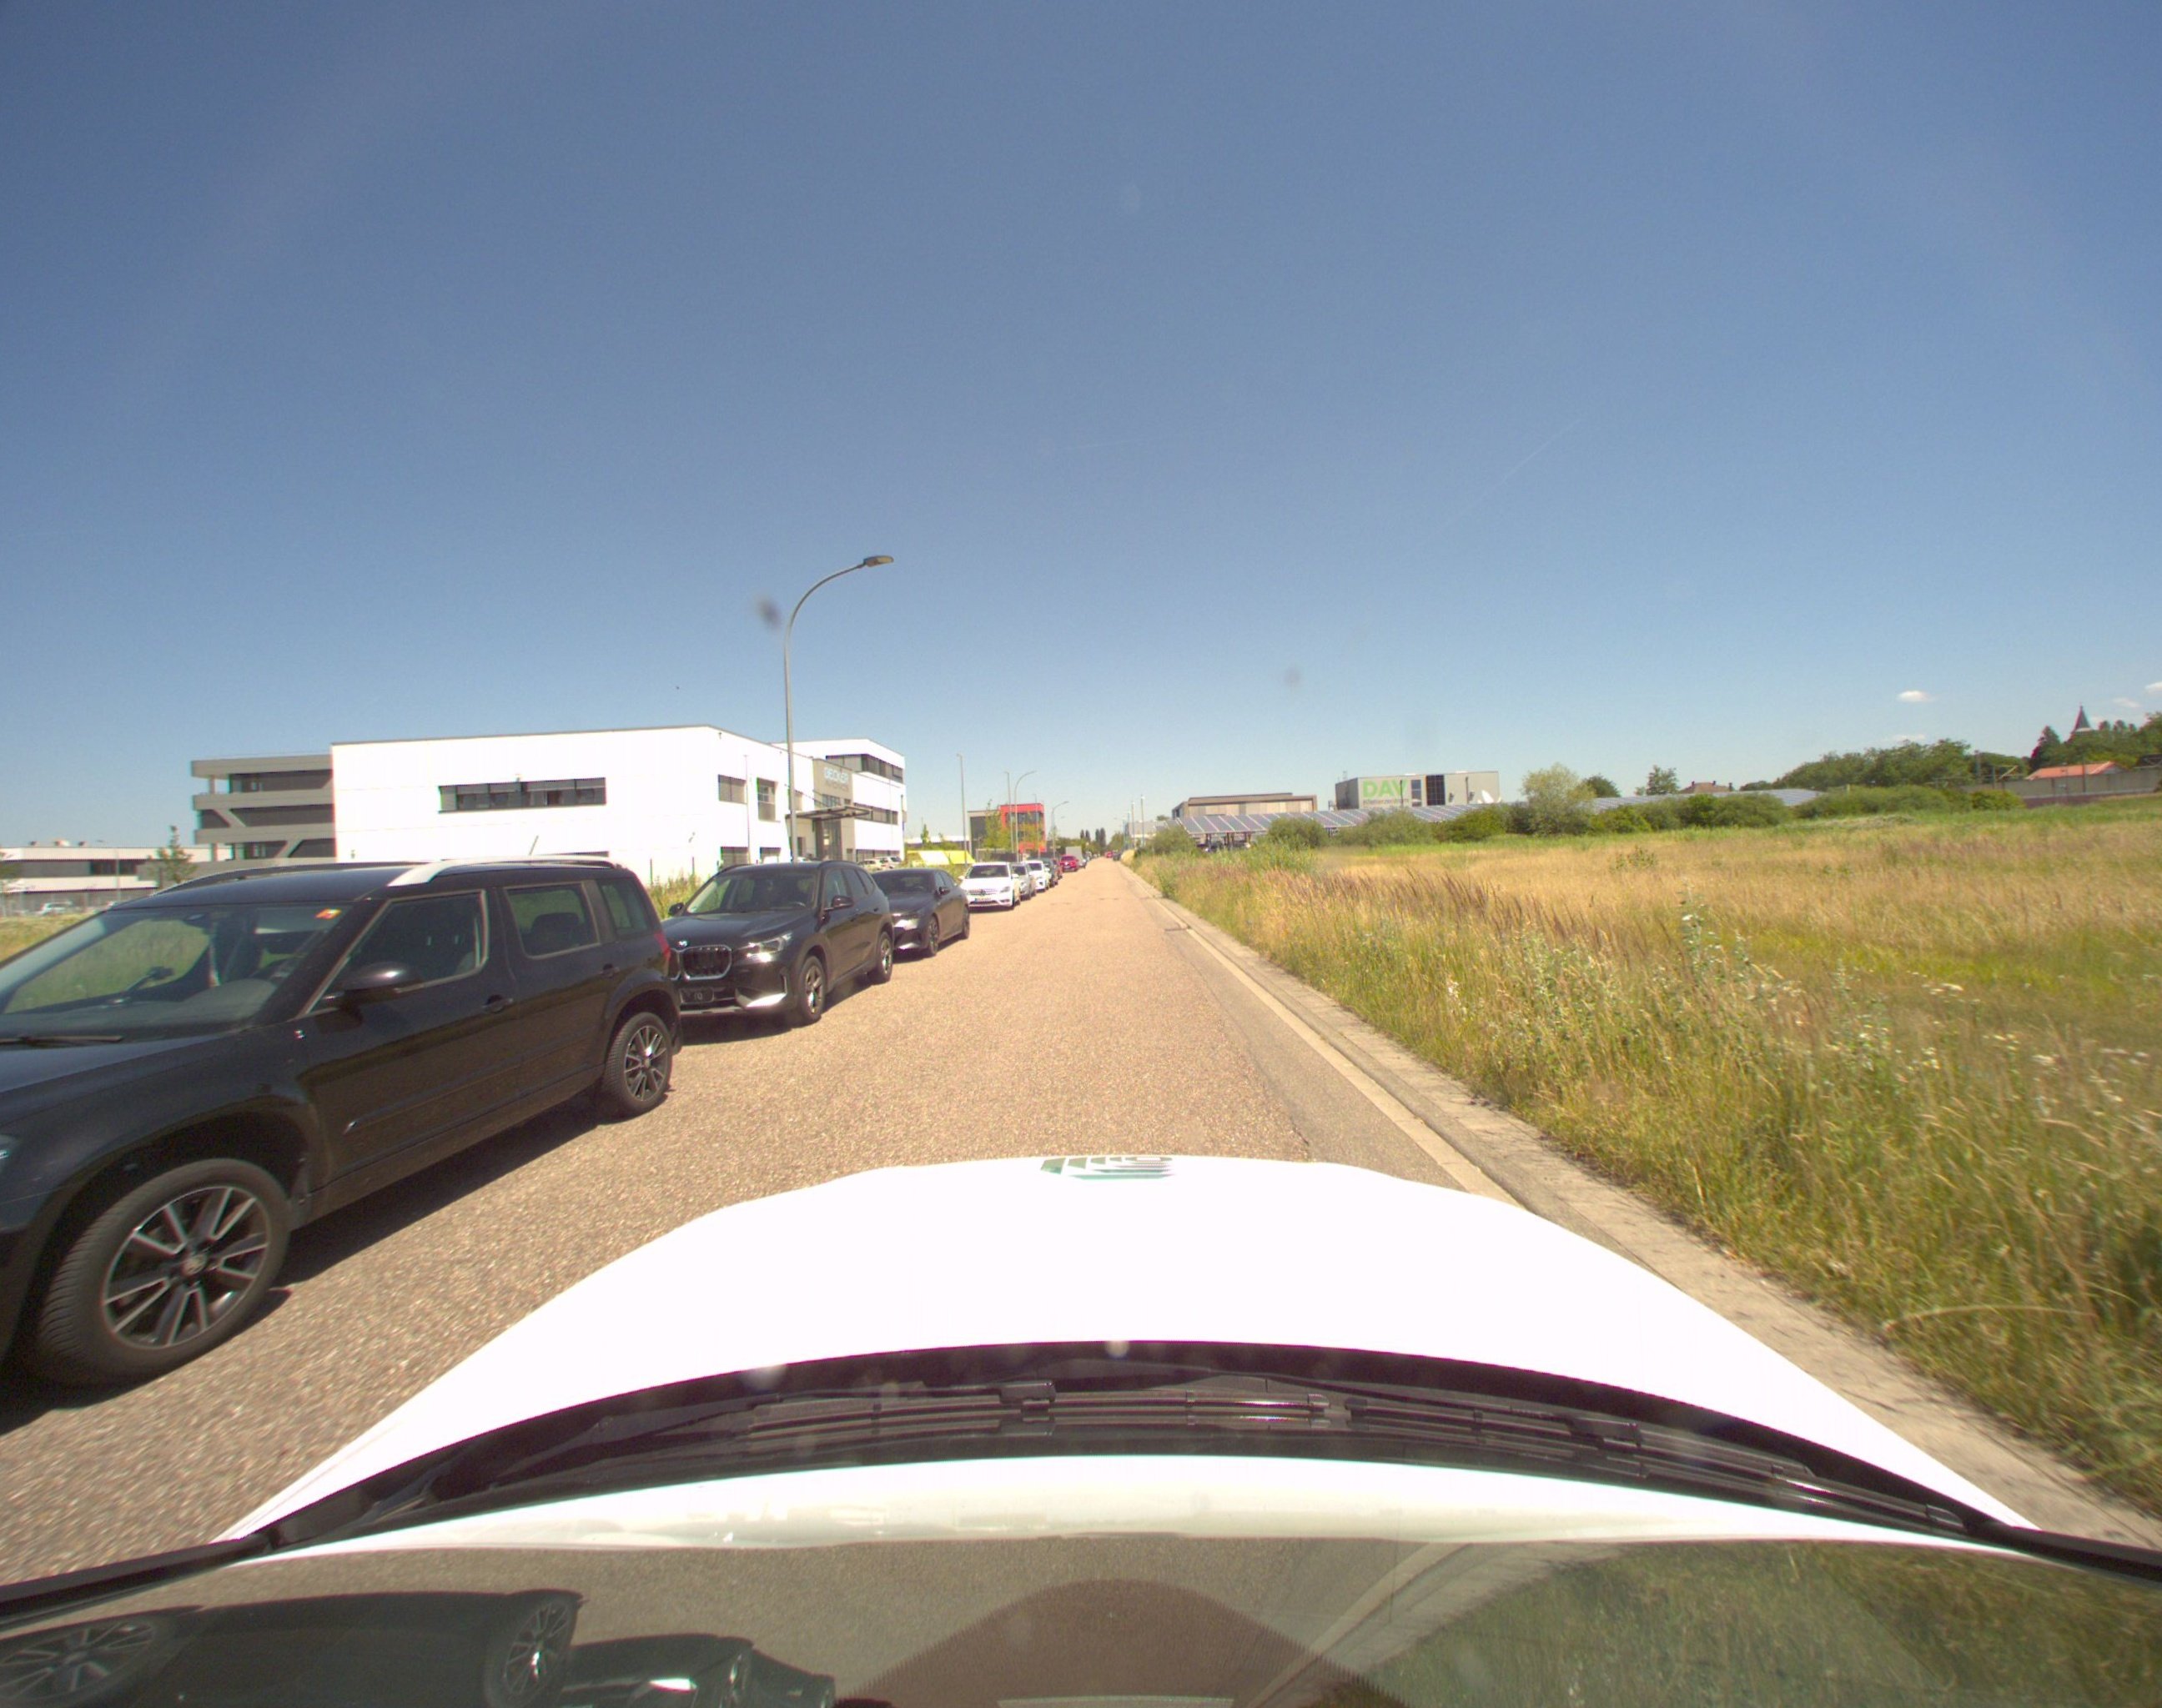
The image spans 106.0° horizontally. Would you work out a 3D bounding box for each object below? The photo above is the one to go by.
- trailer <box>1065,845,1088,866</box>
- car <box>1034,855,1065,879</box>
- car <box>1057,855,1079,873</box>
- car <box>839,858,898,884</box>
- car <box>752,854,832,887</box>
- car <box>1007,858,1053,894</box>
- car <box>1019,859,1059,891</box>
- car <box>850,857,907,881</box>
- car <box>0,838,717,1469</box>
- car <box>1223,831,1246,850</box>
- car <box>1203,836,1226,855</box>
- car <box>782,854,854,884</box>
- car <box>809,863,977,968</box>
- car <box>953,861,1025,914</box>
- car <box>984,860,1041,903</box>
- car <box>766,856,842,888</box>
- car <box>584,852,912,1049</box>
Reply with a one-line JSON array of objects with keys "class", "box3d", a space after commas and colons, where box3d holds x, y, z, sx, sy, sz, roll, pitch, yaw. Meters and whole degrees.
[{"class": "trailer", "box3d": [-0.451, 0.187, 87.447, 2.193, 2.137, 4.287, -3, 0, 2]}, {"class": "car", "box3d": [-2.144, 0.890, 56.799, 1.780, 1.520, 3.984, -3, 0, 2]}, {"class": "car", "box3d": [-1.173, 0.934, 76.012, 1.780, 1.520, 3.984, -3, 0, 2]}, {"class": "car", "box3d": [-18.718, 1.481, 71.957, 4.511, 1.943, 2.032, -3, 0, 2]}, {"class": "car", "box3d": [-19.278, 1.079, 54.495, 4.511, 1.943, 2.032, -3, 0, 2]}, {"class": "car", "box3d": [-2.394, 1.027, 39.115, 1.780, 1.520, 3.984, -3, 0, 2]}, {"class": "car", "box3d": [-2.219, 1.120, 44.357, 1.780, 1.520, 3.984, -3, 0, 2]}, {"class": "car", "box3d": [-18.572, 1.379, 74.806, 4.511, 1.943, 2.032, -3, 0, 2]}, {"class": "car", "box3d": [-3.665, 0.830, 3.979, 1.671, 1.663, 4.238, -3, 0, 2]}, {"class": "car", "box3d": [17.847, -1.601, 94.814, 1.986, 2.013, 4.001, -3, 0, 1]}, {"class": "car", "box3d": [15.490, -0.967, 94.721, 1.986, 2.013, 4.001, -3, 0, 1]}, {"class": "car", "box3d": [-19.366, 1.107, 60.149, 4.511, 1.943, 2.032, -3, 0, 2]}, {"class": "car", "box3d": [-3.269, 0.996, 15.247, 1.762, 1.486, 5.016, -3, 0, 2]}, {"class": "car", "box3d": [-2.990, 1.056, 27.289, 1.780, 1.520, 3.984, -3, 0, 2]}, {"class": "car", "box3d": [-2.726, 1.063, 33.255, 1.780, 1.520, 3.984, -3, 0, 2]}, {"class": "car", "box3d": [-19.378, 1.221, 57.147, 4.511, 1.943, 2.032, -3, 0, 2]}, {"class": "car", "box3d": [-3.443, 0.854, 9.532, 1.762, 1.663, 4.554, -3, 0, 2]}]
